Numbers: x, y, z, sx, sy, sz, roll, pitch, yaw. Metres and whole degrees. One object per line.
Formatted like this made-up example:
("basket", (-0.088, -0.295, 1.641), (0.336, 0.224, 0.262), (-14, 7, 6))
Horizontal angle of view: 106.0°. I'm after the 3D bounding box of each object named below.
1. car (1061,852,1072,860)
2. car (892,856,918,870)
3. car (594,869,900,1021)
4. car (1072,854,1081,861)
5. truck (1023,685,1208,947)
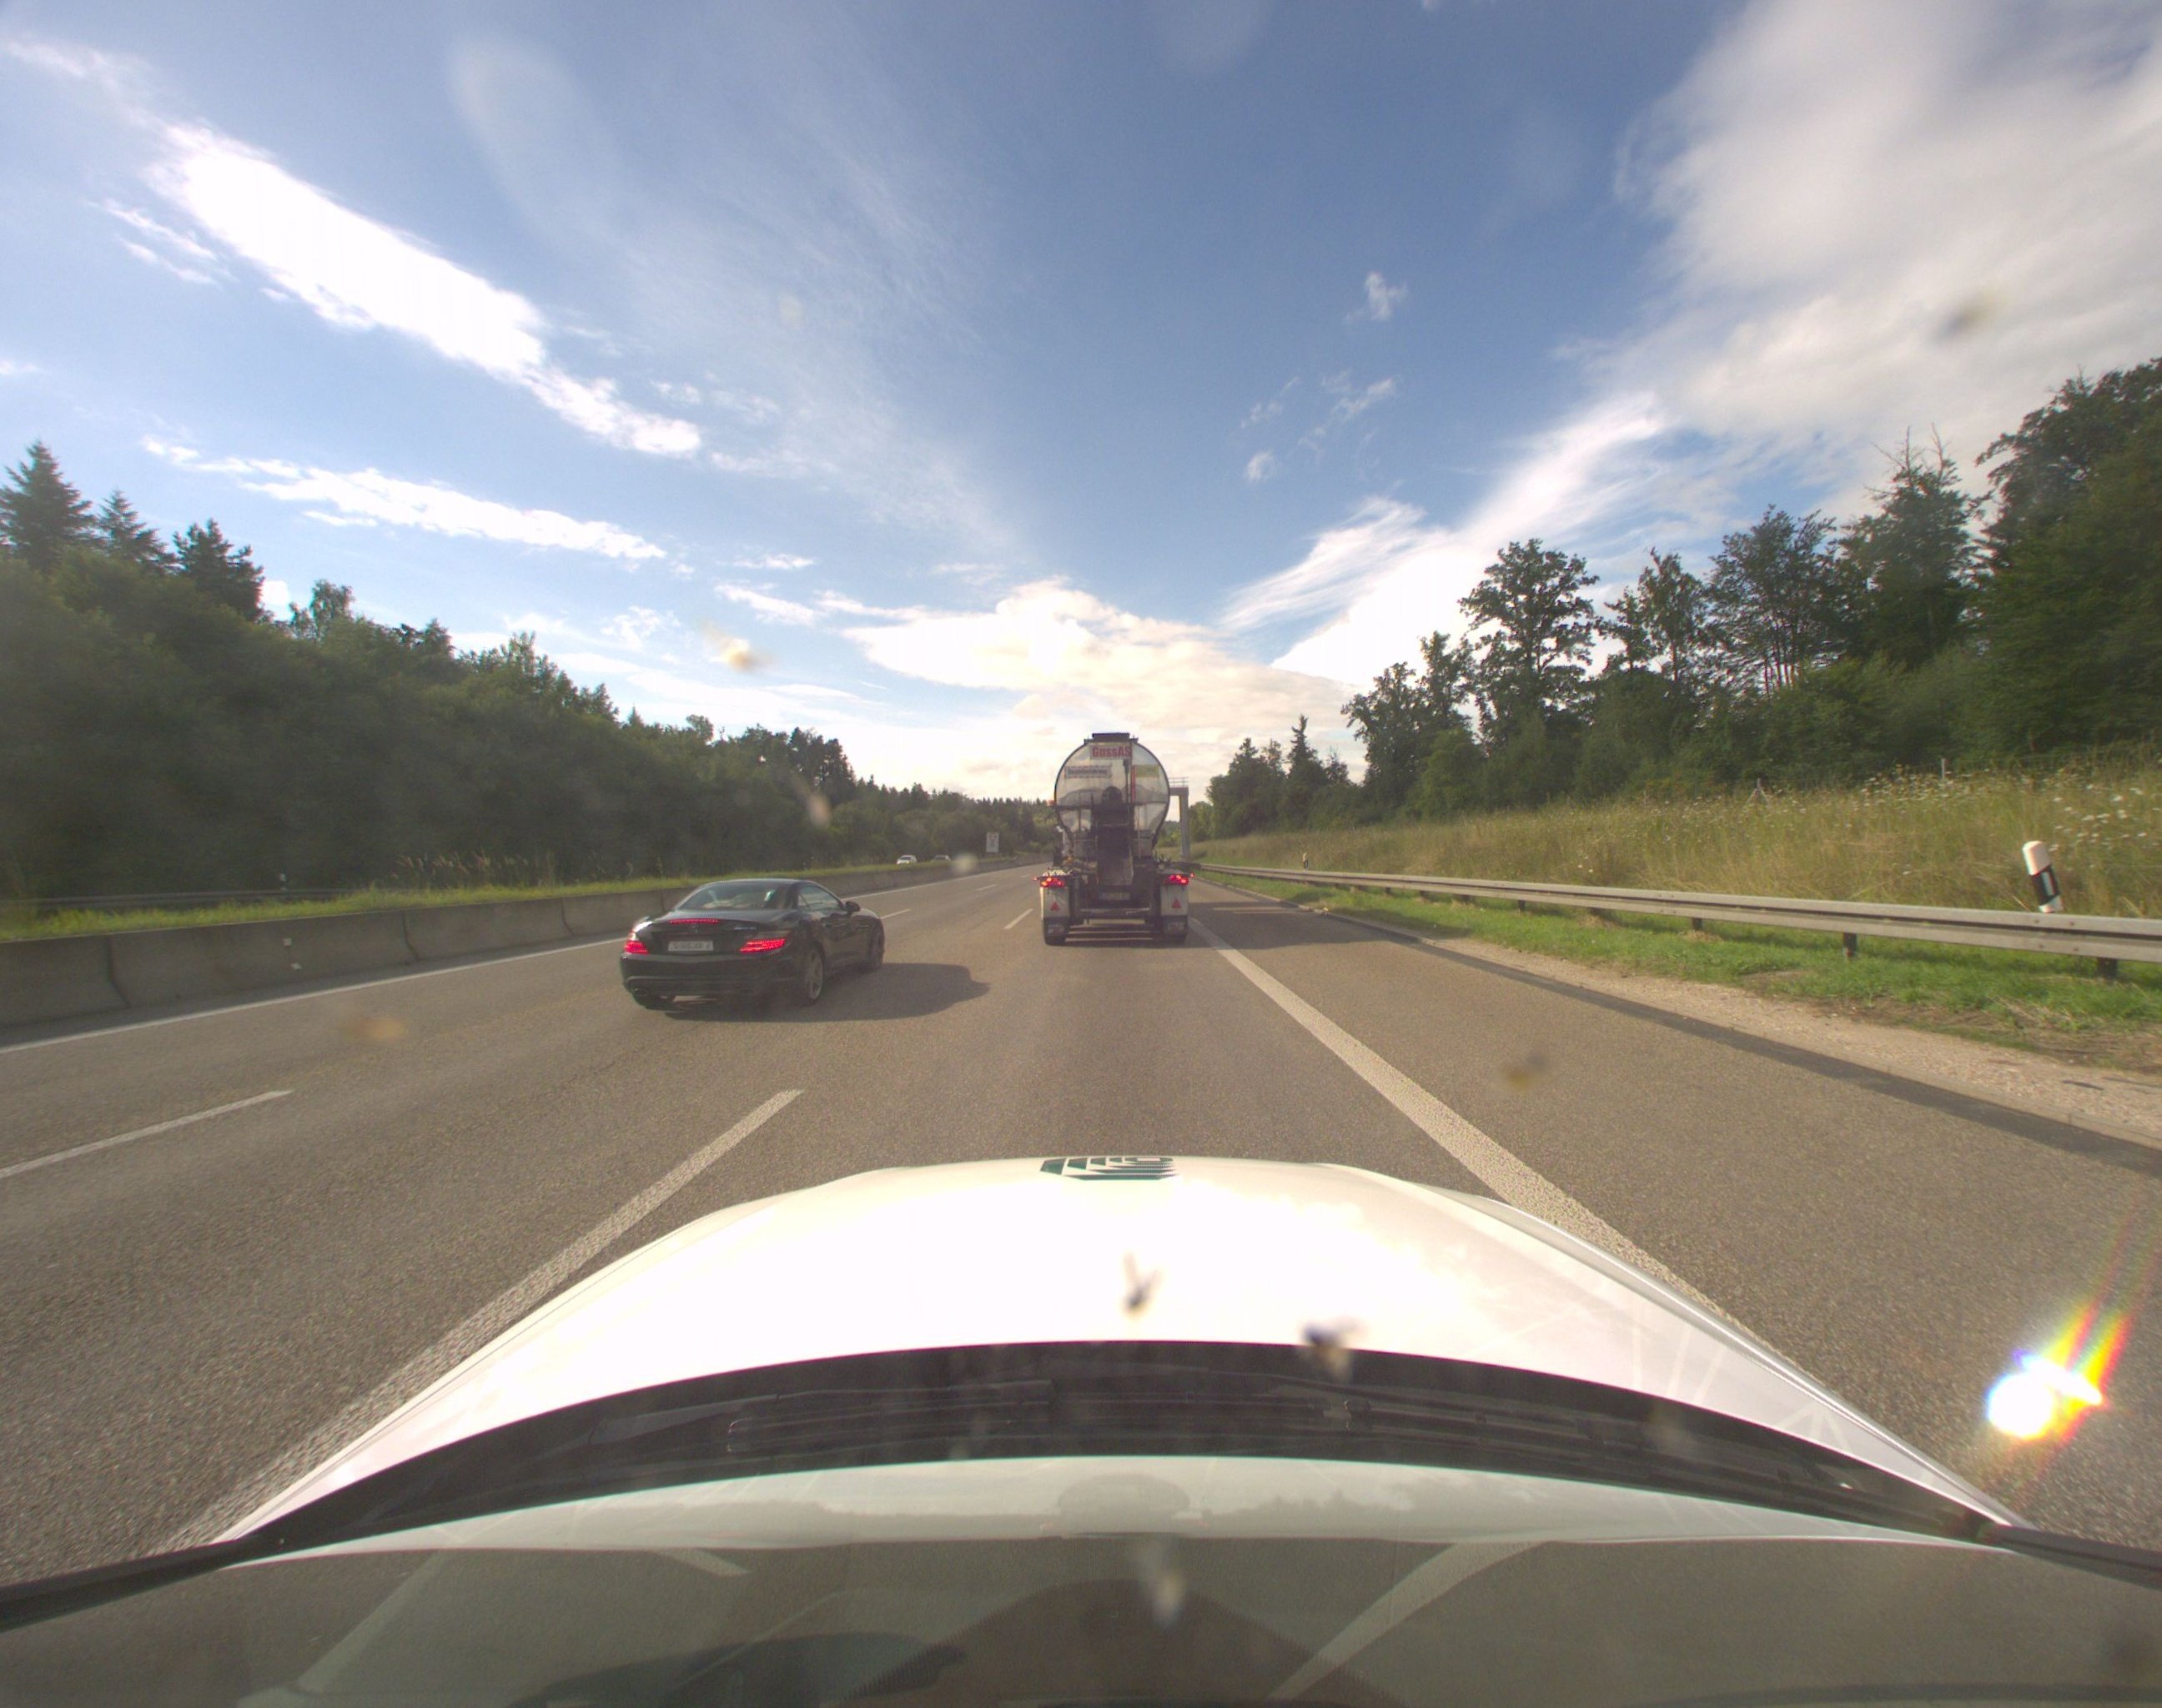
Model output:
("car", (-2.682, 0.325, 149.013), (1.829, 1.517, 4.335), (-1, 0, 1))
("car", (-20.425, 1.036, 94.481), (1.943, 1.539, 4.329), (-1, 0, 2))
("car", (-3.548, 0.879, 9.603), (1.738, 1.283, 4.200), (-1, 0, 2))
("car", (-0.911, 0.678, 174.664), (1.849, 1.431, 4.843), (-1, 0, 2))
("truck", (0.732, -0.621, 18.706), (2.902, 4.157, 11.274), (-1, 0, 2))
